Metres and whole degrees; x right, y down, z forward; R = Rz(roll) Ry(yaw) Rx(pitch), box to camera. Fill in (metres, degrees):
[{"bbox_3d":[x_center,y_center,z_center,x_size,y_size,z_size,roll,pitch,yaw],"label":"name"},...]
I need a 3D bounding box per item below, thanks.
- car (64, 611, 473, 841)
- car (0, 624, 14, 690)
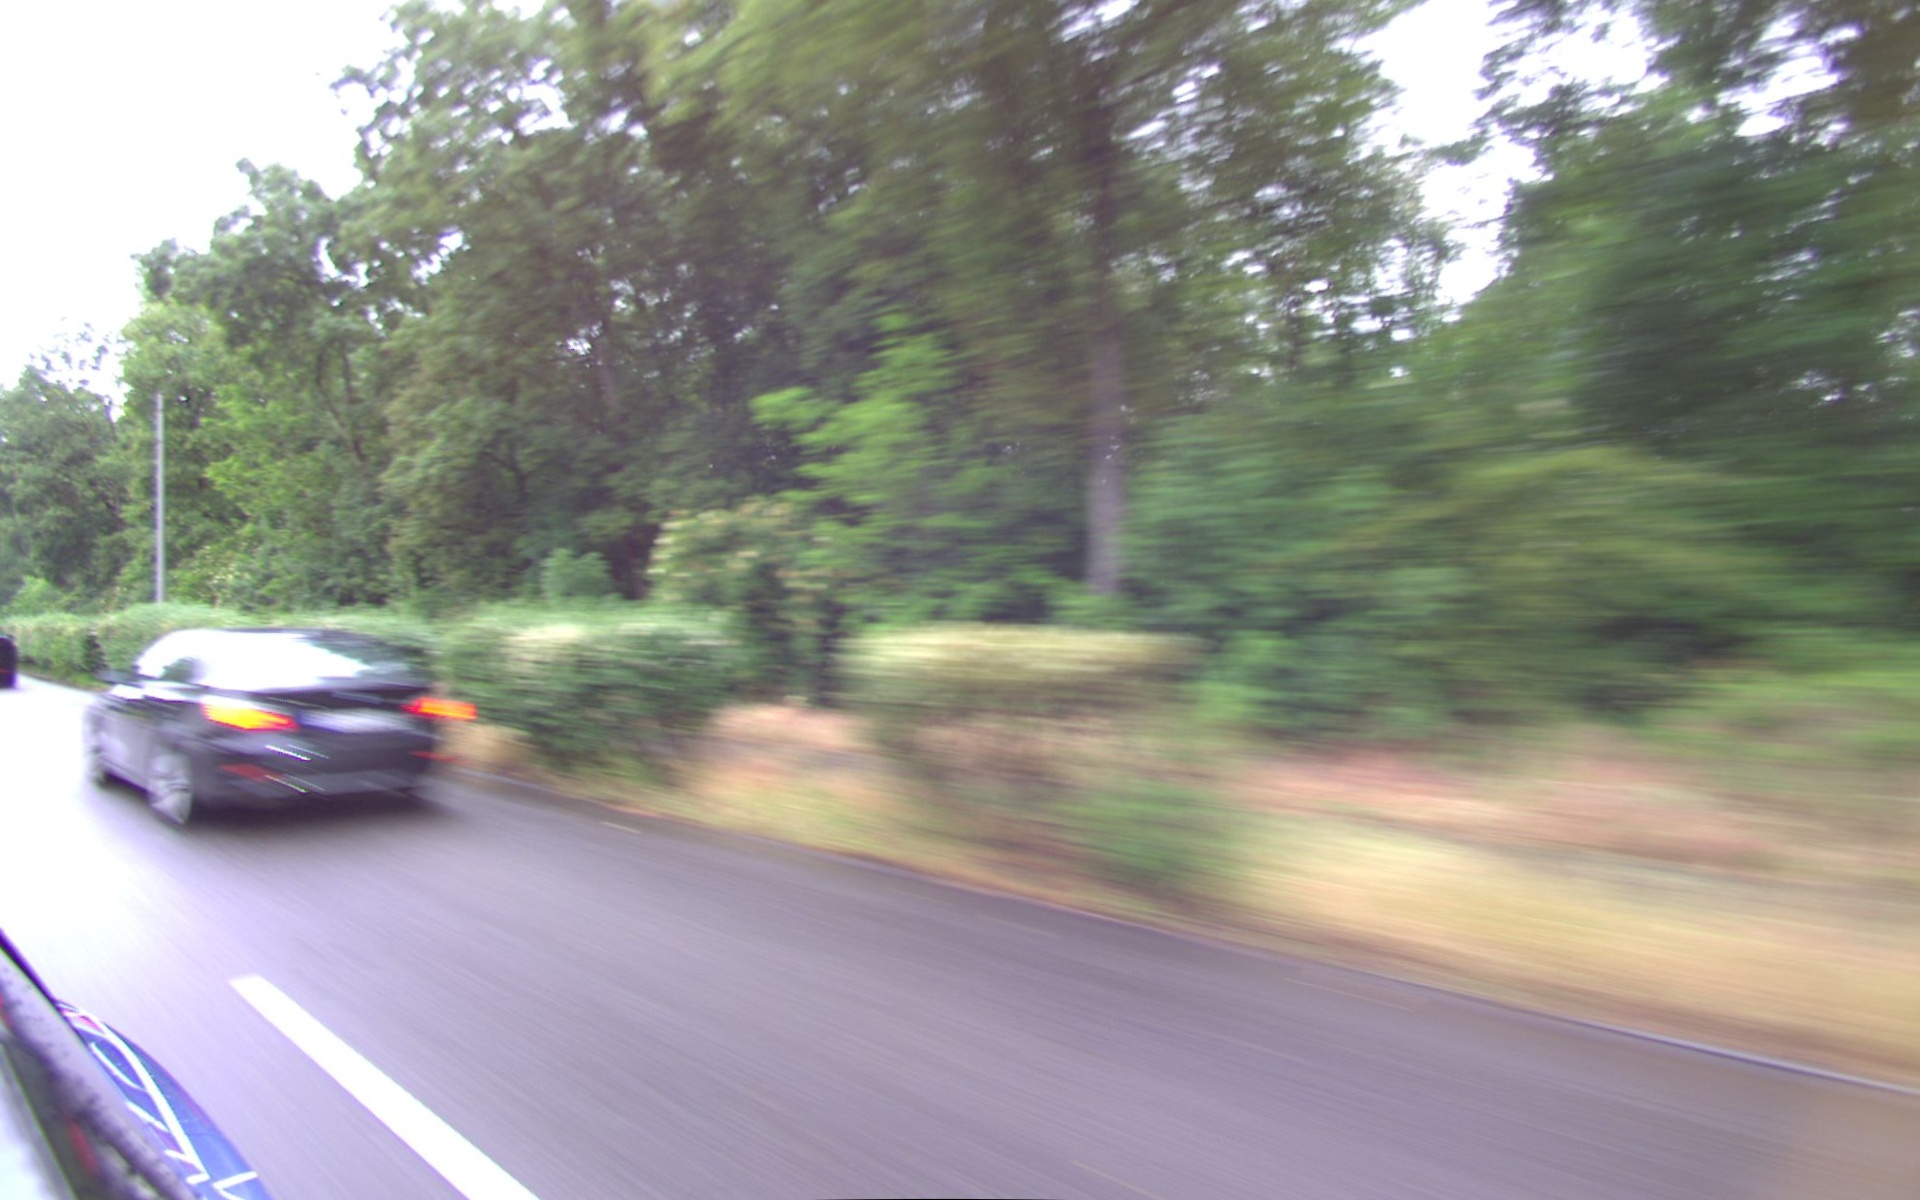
[{"bbox_3d":[-6.194,0.924,8.769,5.110,1.454,1.710,-3,-4,41],"label":"car"},{"bbox_3d":[-24.597,1.388,24.669,4.430,1.559,1.785,-3,-4,42],"label":"car"}]
